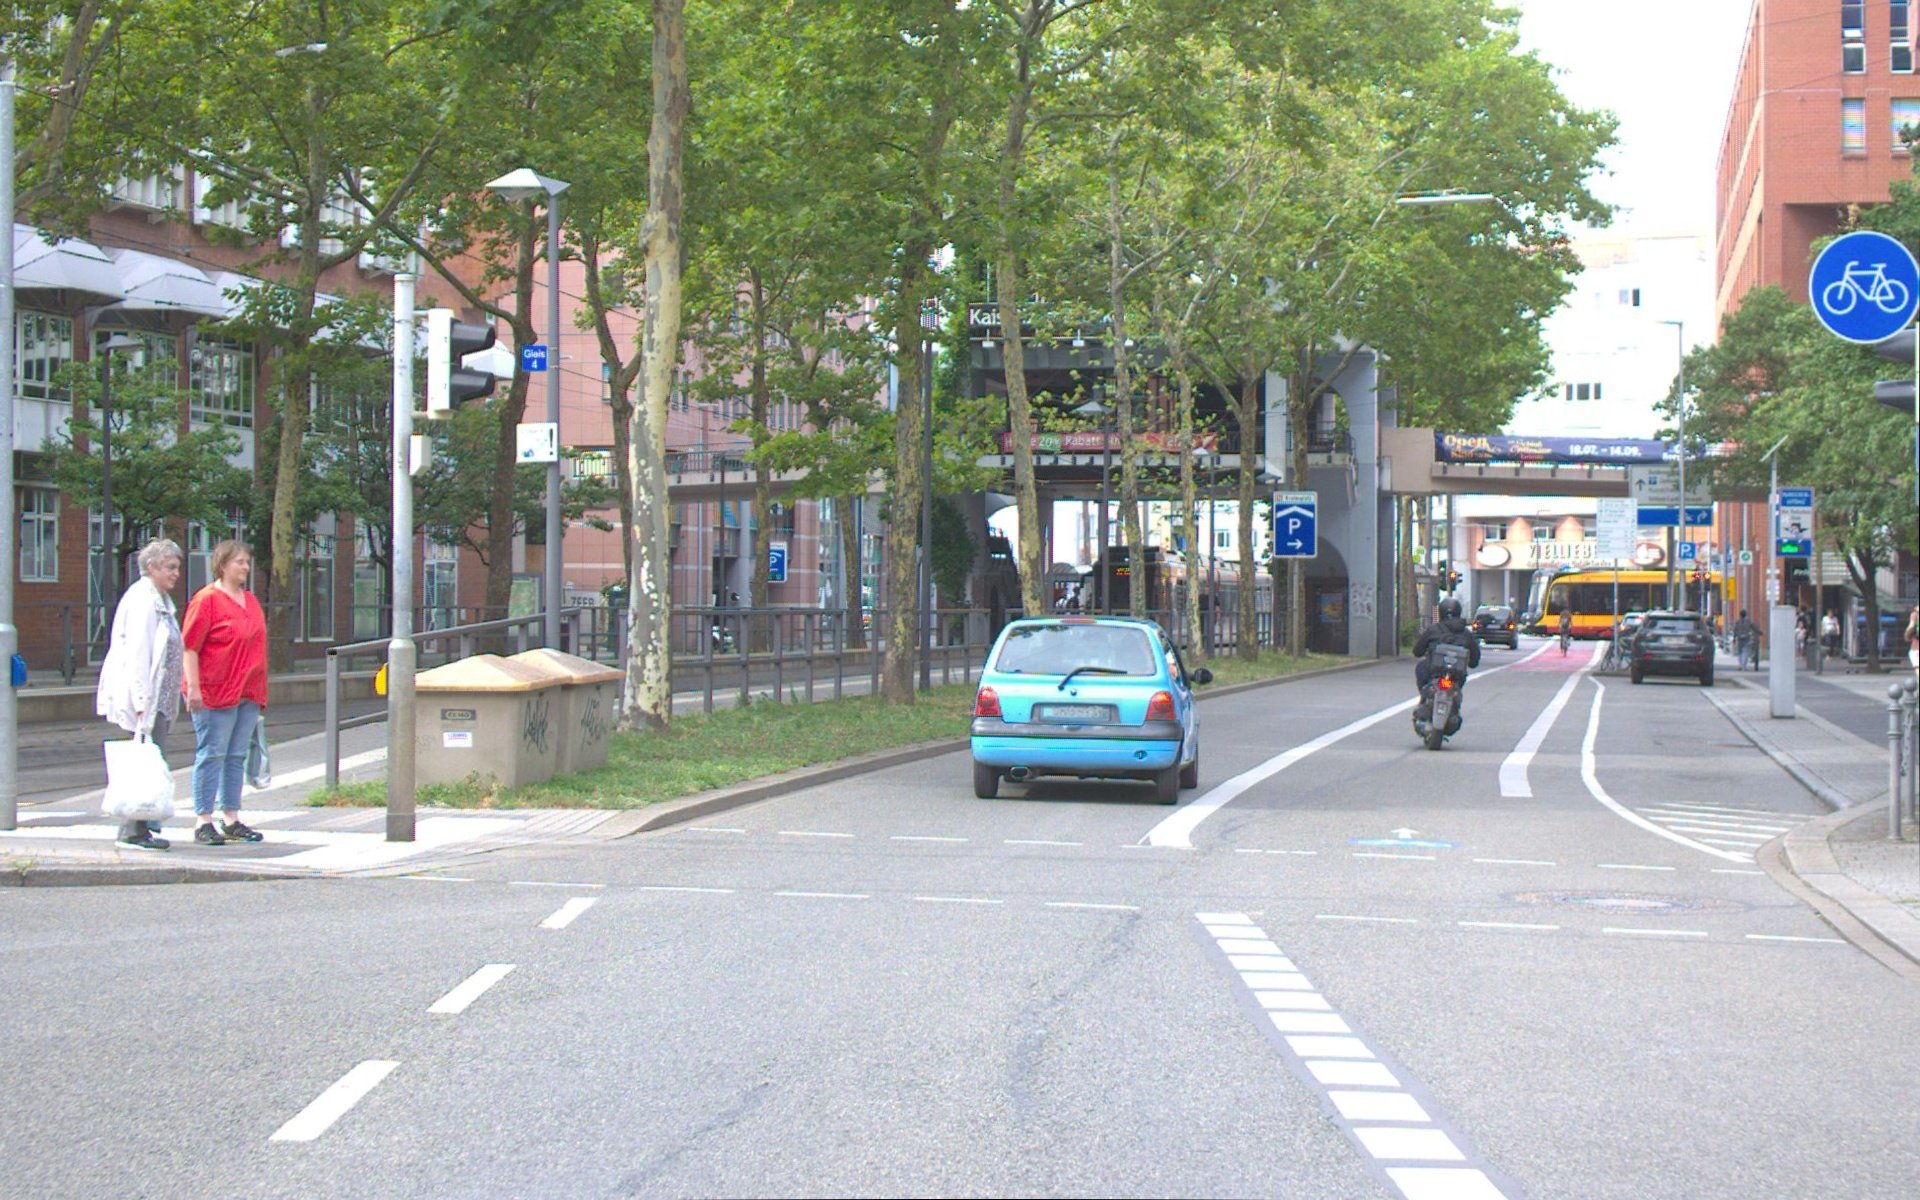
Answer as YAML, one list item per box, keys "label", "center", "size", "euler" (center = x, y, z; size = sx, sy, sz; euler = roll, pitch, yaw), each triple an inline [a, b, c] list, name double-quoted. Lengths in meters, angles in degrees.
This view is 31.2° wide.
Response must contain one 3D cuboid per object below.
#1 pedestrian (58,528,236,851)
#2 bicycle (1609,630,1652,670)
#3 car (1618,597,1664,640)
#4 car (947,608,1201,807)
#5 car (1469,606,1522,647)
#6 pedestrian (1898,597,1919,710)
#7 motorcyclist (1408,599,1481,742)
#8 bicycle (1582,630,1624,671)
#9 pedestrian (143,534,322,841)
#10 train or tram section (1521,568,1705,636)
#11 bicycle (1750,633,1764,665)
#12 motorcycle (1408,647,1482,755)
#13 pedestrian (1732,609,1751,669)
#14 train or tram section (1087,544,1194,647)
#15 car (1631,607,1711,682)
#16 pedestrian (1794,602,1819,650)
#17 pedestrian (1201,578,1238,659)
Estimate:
- label: "pedestrian"
  center: [-4.428, 0.475, 18.764]
  size: [0.553, 1.712, 0.890]
  euler: [1, 0, 17]
- label: "bicycle"
  center: [17.266, 1.283, 88.568]
  size: [0.563, 1.005, 2.009]
  euler: [1, 0, -4]
- label: "car"
  center: [26.404, 0.703, 133.260]
  size: [1.700, 1.596, 3.998]
  euler: [0, 0, 12]
- label: "car"
  center: [0.967, 0.791, 27.161]
  size: [1.641, 1.381, 3.842]
  euler: [1, 1, 7]
- label: "car"
  center: [21.739, 1.072, 139.516]
  size: [1.887, 1.618, 3.998]
  euler: [1, 0, 12]
- label: "pedestrian"
  center: [15.969, 0.884, 57.120]
  size: [0.647, 1.852, 0.782]
  euler: [1, 0, 10]
- label: "motorcyclist"
  center: [5.228, 0.751, 37.133]
  size: [0.759, 1.514, 1.017]
  euler: [0, 0, 7]
- label: "bicycle"
  center: [16.591, 1.295, 88.683]
  size: [0.563, 1.005, 2.009]
  euler: [1, 0, -4]
- label: "pedestrian"
  center: [-4.159, 0.486, 19.686]
  size: [0.553, 1.712, 0.889]
  euler: [1, 0, 27]
- label: "train or tram section"
  center: [31.560, 0.108, 166.118]
  size: [8.786, 3.243, 2.397]
  euler: [0, 0, -21]
- label: "bicycle"
  center: [23.264, 1.432, 100.349]
  size: [0.356, 0.936, 1.208]
  euler: [0, 0, 11]
- label: "motorcycle"
  center: [5.220, 1.072, 37.066]
  size: [0.767, 1.103, 2.207]
  euler: [0, 0, 7]
- label: "pedestrian"
  center: [22.788, 1.129, 100.250]
  size: [0.510, 1.753, 0.539]
  euler: [0, 0, 11]
- label: "train or tram section"
  center: [6.010, -0.140, 113.301]
  size: [2.390, 3.243, 8.814]
  euler: [0, 0, 10]
- label: "car"
  center: [15.871, 0.964, 76.729]
  size: [1.700, 1.596, 3.998]
  euler: [0, 0, 12]
- label: "pedestrian"
  center: [27.276, 0.834, 110.754]
  size: [0.669, 1.556, 0.728]
  euler: [1, 0, 7]
- label: "pedestrian"
  center: [5.986, 0.434, 79.405]
  size: [0.728, 1.852, 0.870]
  euler: [1, 0, 12]
